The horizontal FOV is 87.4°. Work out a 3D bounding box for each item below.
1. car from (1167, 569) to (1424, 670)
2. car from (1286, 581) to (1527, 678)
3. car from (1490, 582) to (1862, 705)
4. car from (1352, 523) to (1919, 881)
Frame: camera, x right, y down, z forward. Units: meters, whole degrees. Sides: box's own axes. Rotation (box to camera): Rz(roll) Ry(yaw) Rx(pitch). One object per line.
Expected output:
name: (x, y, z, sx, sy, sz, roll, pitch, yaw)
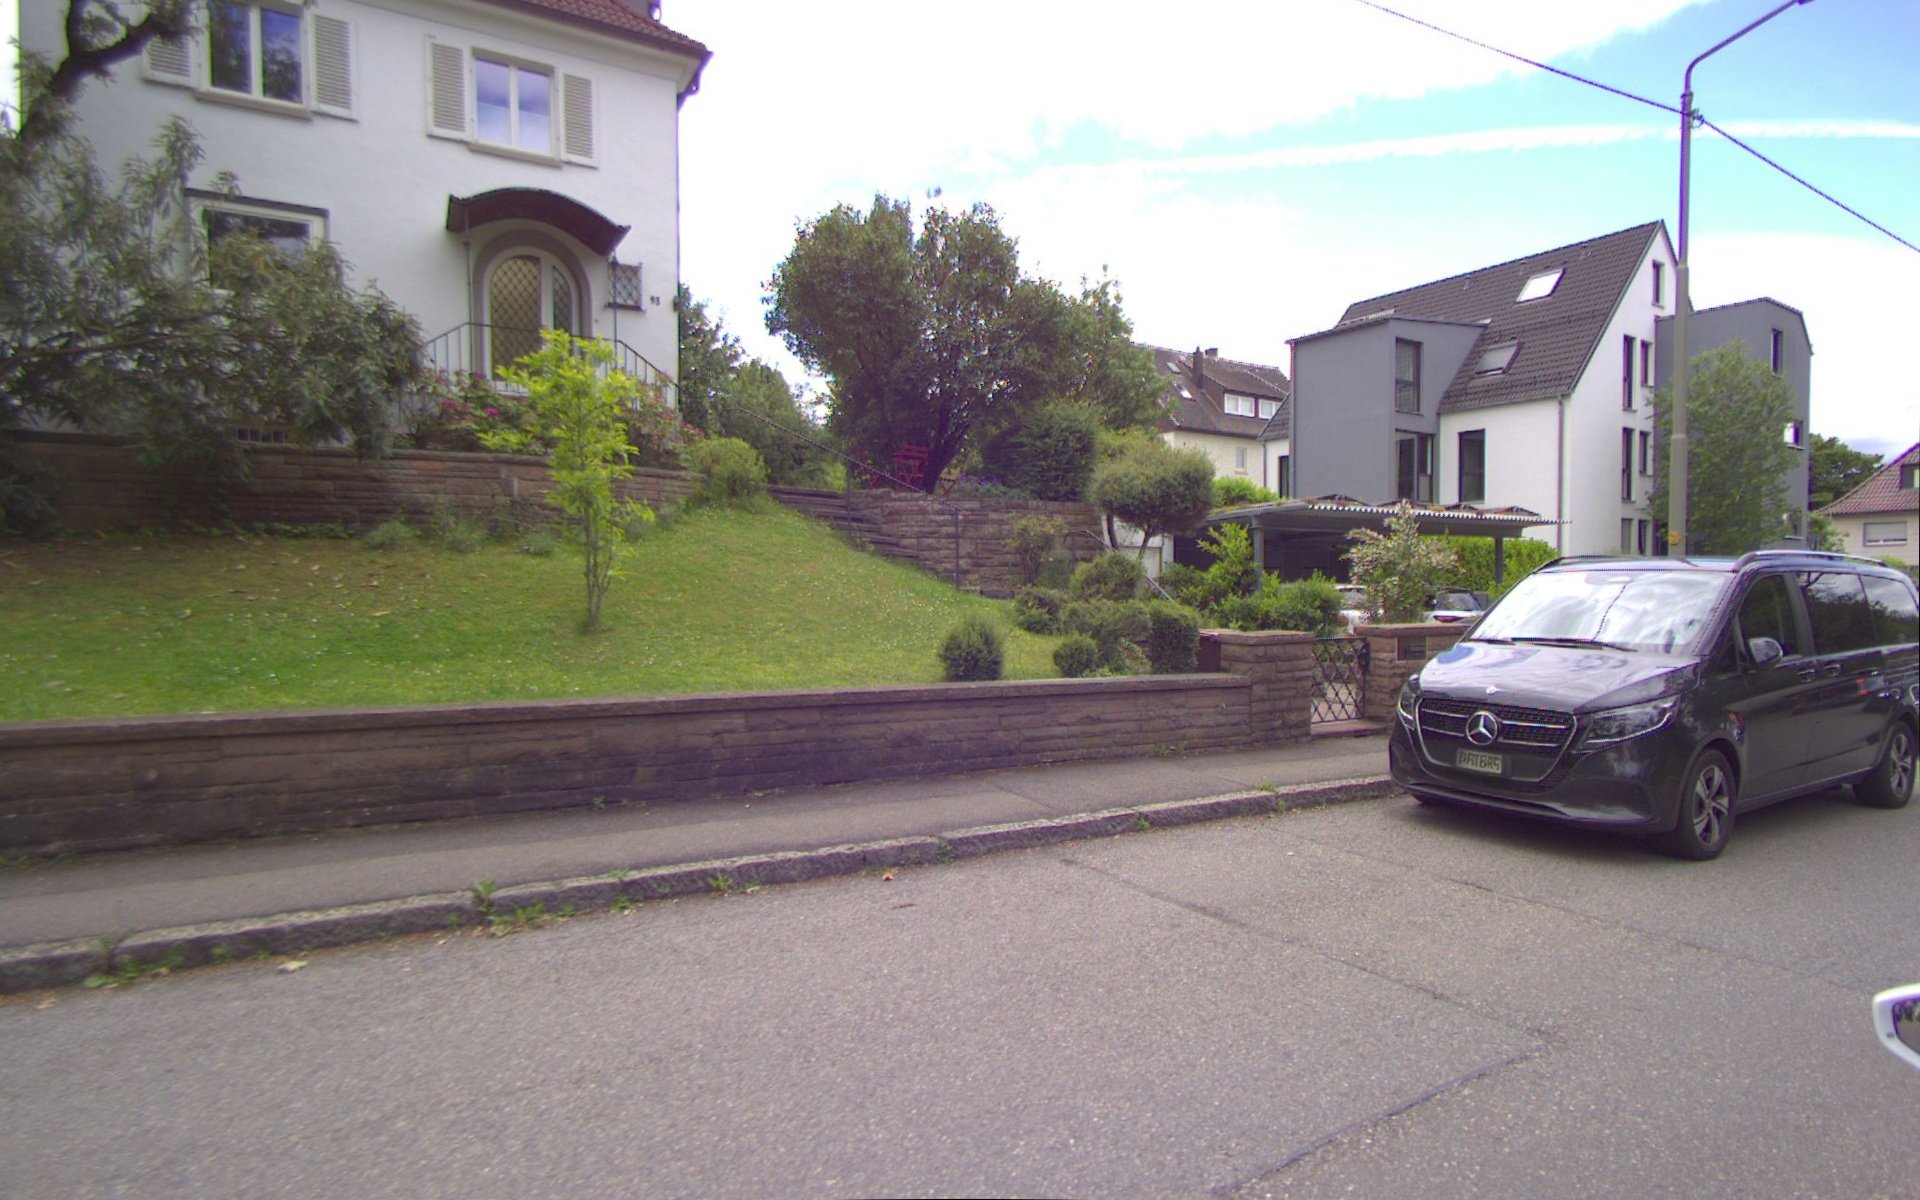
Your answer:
car: (6.443, 0.290, 19.805, 1.978, 1.720, 4.588, -2, 2, -33)
car: (8.982, 0.495, 20.521, 1.978, 1.720, 4.098, -2, 2, -33)
car: (11.522, 0.592, 16.528, 1.979, 1.720, 4.588, 1, 1, -33)
car: (5.379, 0.560, 7.549, 4.980, 1.952, 1.853, 1, 2, -31)
